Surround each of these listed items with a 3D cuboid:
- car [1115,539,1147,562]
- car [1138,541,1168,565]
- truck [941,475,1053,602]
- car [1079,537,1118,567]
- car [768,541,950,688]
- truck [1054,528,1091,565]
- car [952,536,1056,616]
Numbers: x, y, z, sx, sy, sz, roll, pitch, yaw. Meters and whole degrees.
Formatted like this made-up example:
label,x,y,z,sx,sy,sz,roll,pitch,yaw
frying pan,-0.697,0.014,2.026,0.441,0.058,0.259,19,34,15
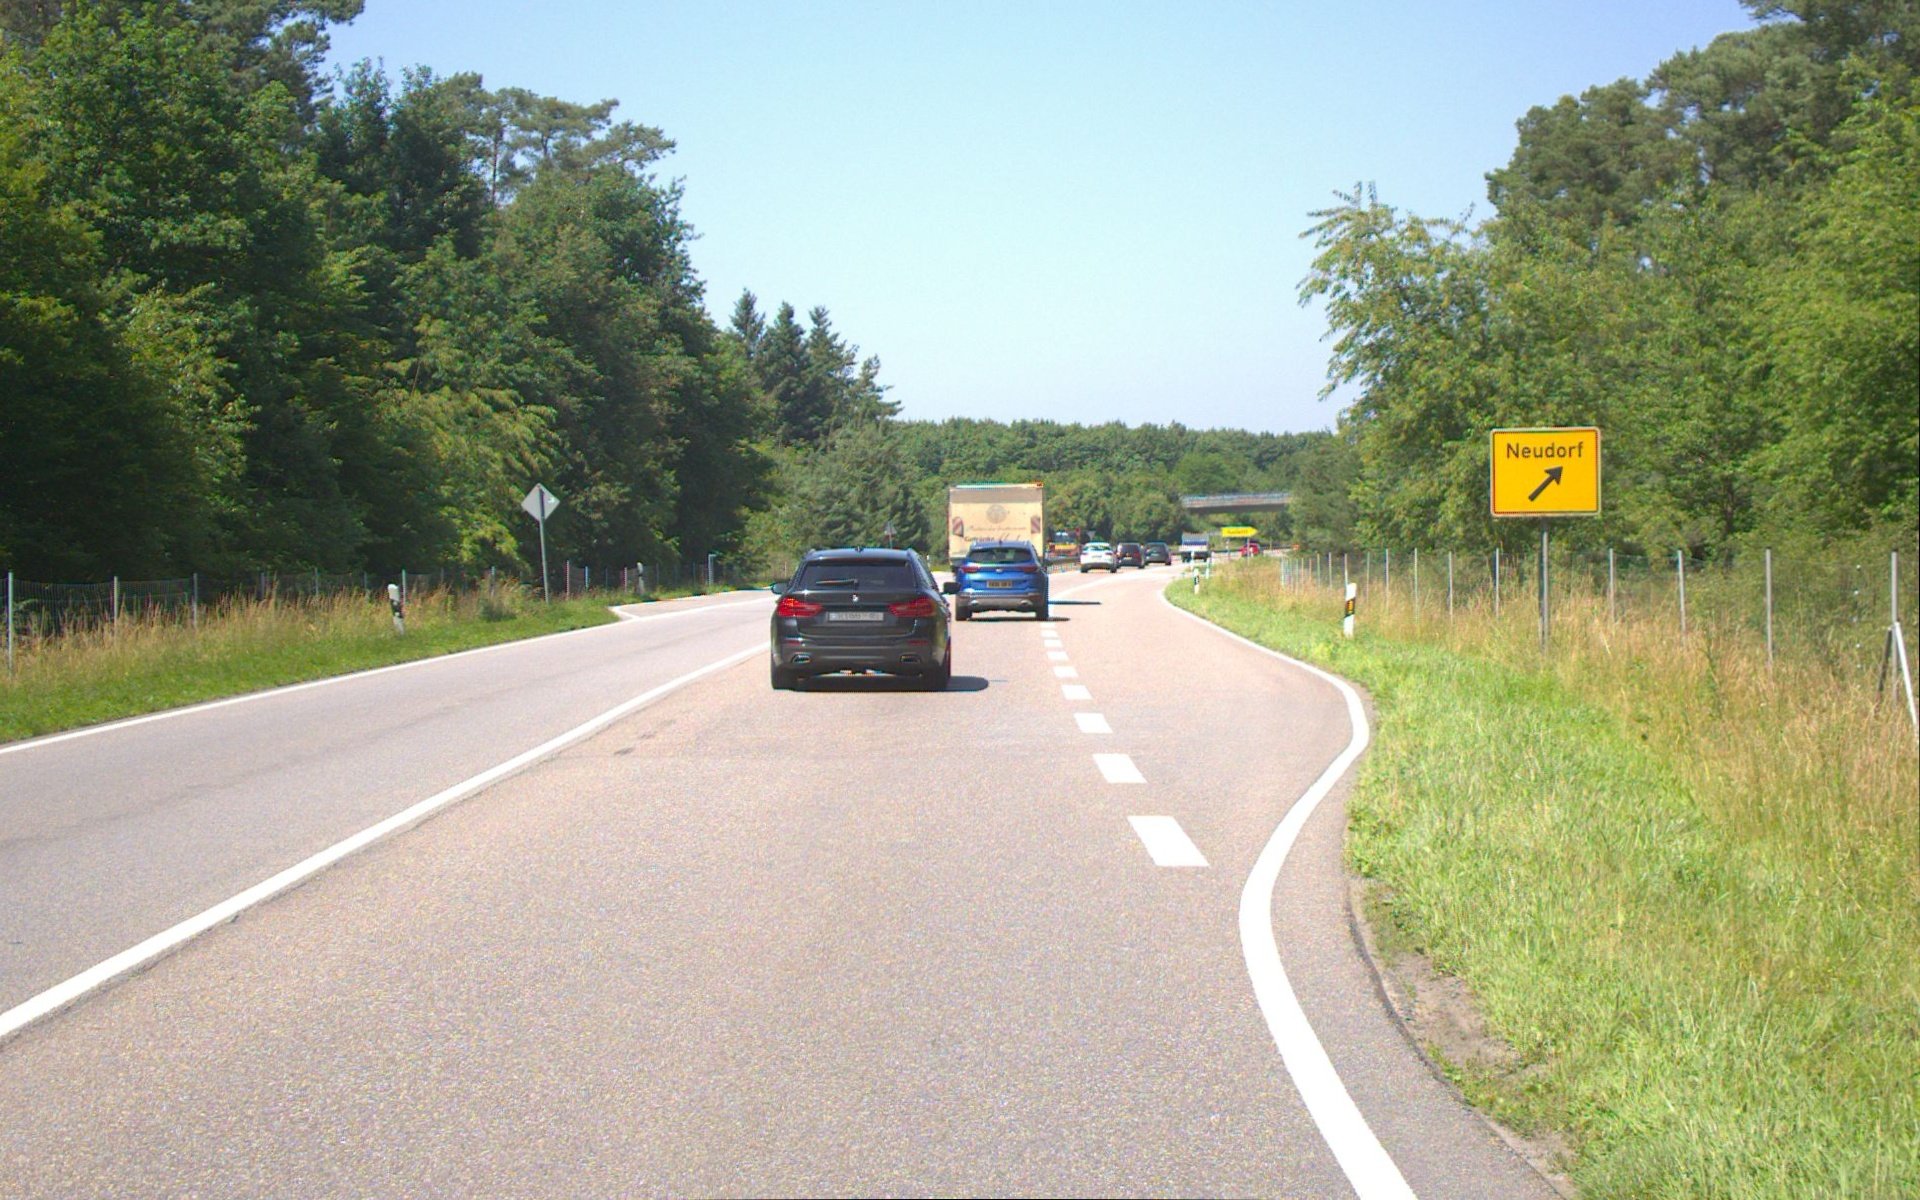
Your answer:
label,x,y,z,sx,sy,sz,roll,pitch,yaw
car,10.899,-3.172,218.578,1.994,1.415,4.000,1,1,3
car,13.719,-3.340,243.721,1.994,1.631,4.000,-1,1,5
truck,1.031,-1.714,94.823,2.965,3.376,6.438,0,1,1
car,7.602,-2.665,189.399,1.863,1.600,4.000,1,1,-1
car,-1.142,0.113,37.061,1.820,1.465,4.001,-1,1,-3
truck,8.241,-3.907,250.974,2.399,2.713,6.551,0,1,5
car,0.861,-0.511,70.309,1.947,1.536,4.000,-1,1,-1
